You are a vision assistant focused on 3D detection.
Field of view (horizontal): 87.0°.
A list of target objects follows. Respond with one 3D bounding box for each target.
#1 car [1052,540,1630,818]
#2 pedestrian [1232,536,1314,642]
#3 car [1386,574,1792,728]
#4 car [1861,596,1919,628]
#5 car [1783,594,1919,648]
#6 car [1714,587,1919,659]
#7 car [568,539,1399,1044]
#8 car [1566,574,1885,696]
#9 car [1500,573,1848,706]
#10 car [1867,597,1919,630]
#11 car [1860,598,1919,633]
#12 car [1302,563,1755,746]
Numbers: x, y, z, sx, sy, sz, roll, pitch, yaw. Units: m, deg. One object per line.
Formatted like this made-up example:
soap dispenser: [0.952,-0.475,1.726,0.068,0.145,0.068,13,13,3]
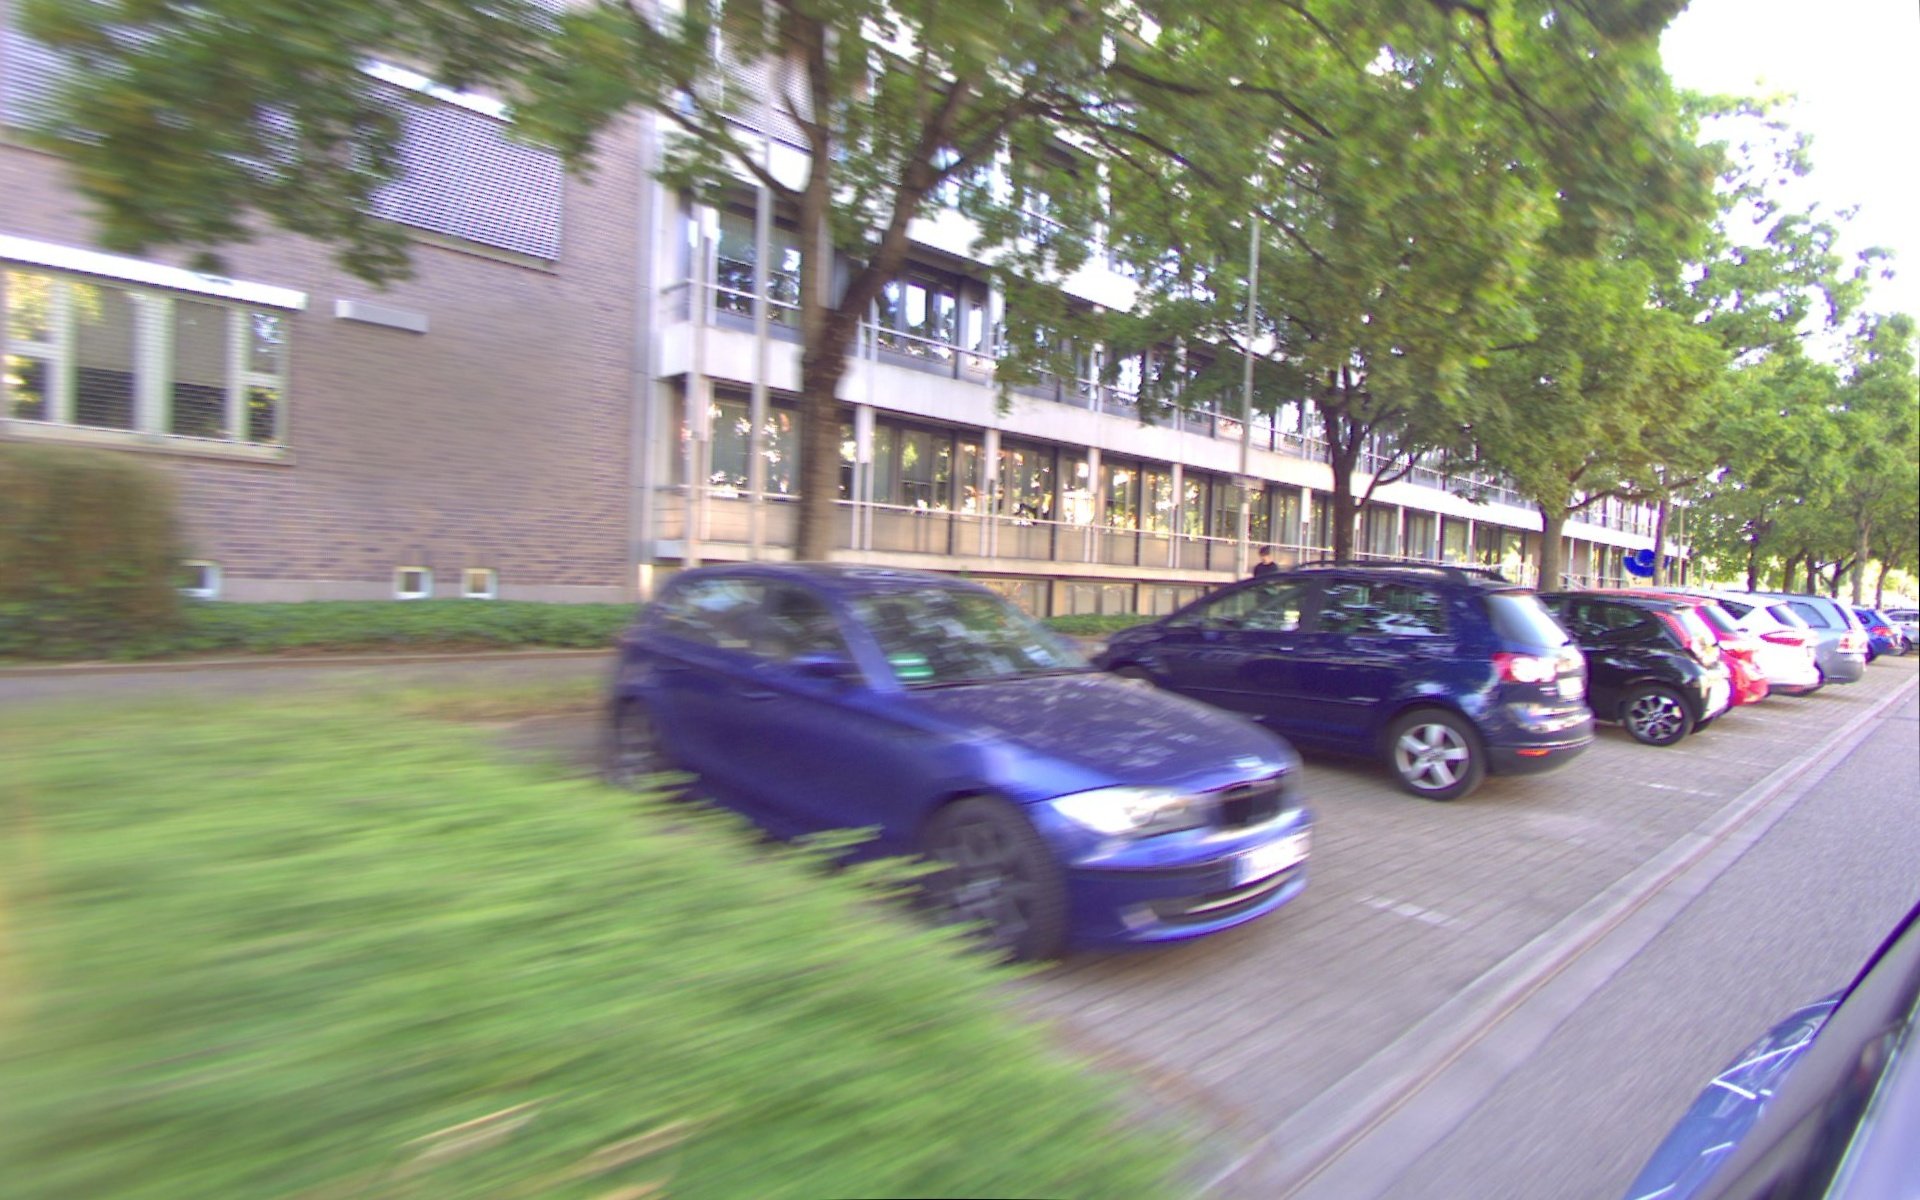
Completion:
car: [2.905,0.397,8.403,4.128,1.608,1.634,6,5,45]
pedestrian: [5.571,-0.193,18.018,1.002,1.821,1.035,0,0,-44]
car: [7.898,0.513,12.957,4.125,1.536,1.808,4,2,43]
car: [50.050,0.704,53.131,3.990,1.497,1.775,6,4,45]
car: [29.033,0.661,32.476,3.908,1.398,1.562,6,5,44]
car: [22.888,0.560,27.080,1.683,1.512,3.998,1,4,-39]
car: [-0.234,0.499,5.083,4.118,1.387,1.628,6,4,44]
car: [12.948,0.490,17.274,4.125,1.687,1.878,4,3,43]
car: [10.699,0.484,15.397,1.684,1.604,3.995,1,3,-41]
car: [48.318,0.747,50.834,3.990,1.497,1.775,6,4,45]
car: [44.745,0.778,47.242,3.990,1.497,1.775,4,3,45]
car: [6.217,0.457,11.404,4.126,1.478,1.634,6,4,43]
